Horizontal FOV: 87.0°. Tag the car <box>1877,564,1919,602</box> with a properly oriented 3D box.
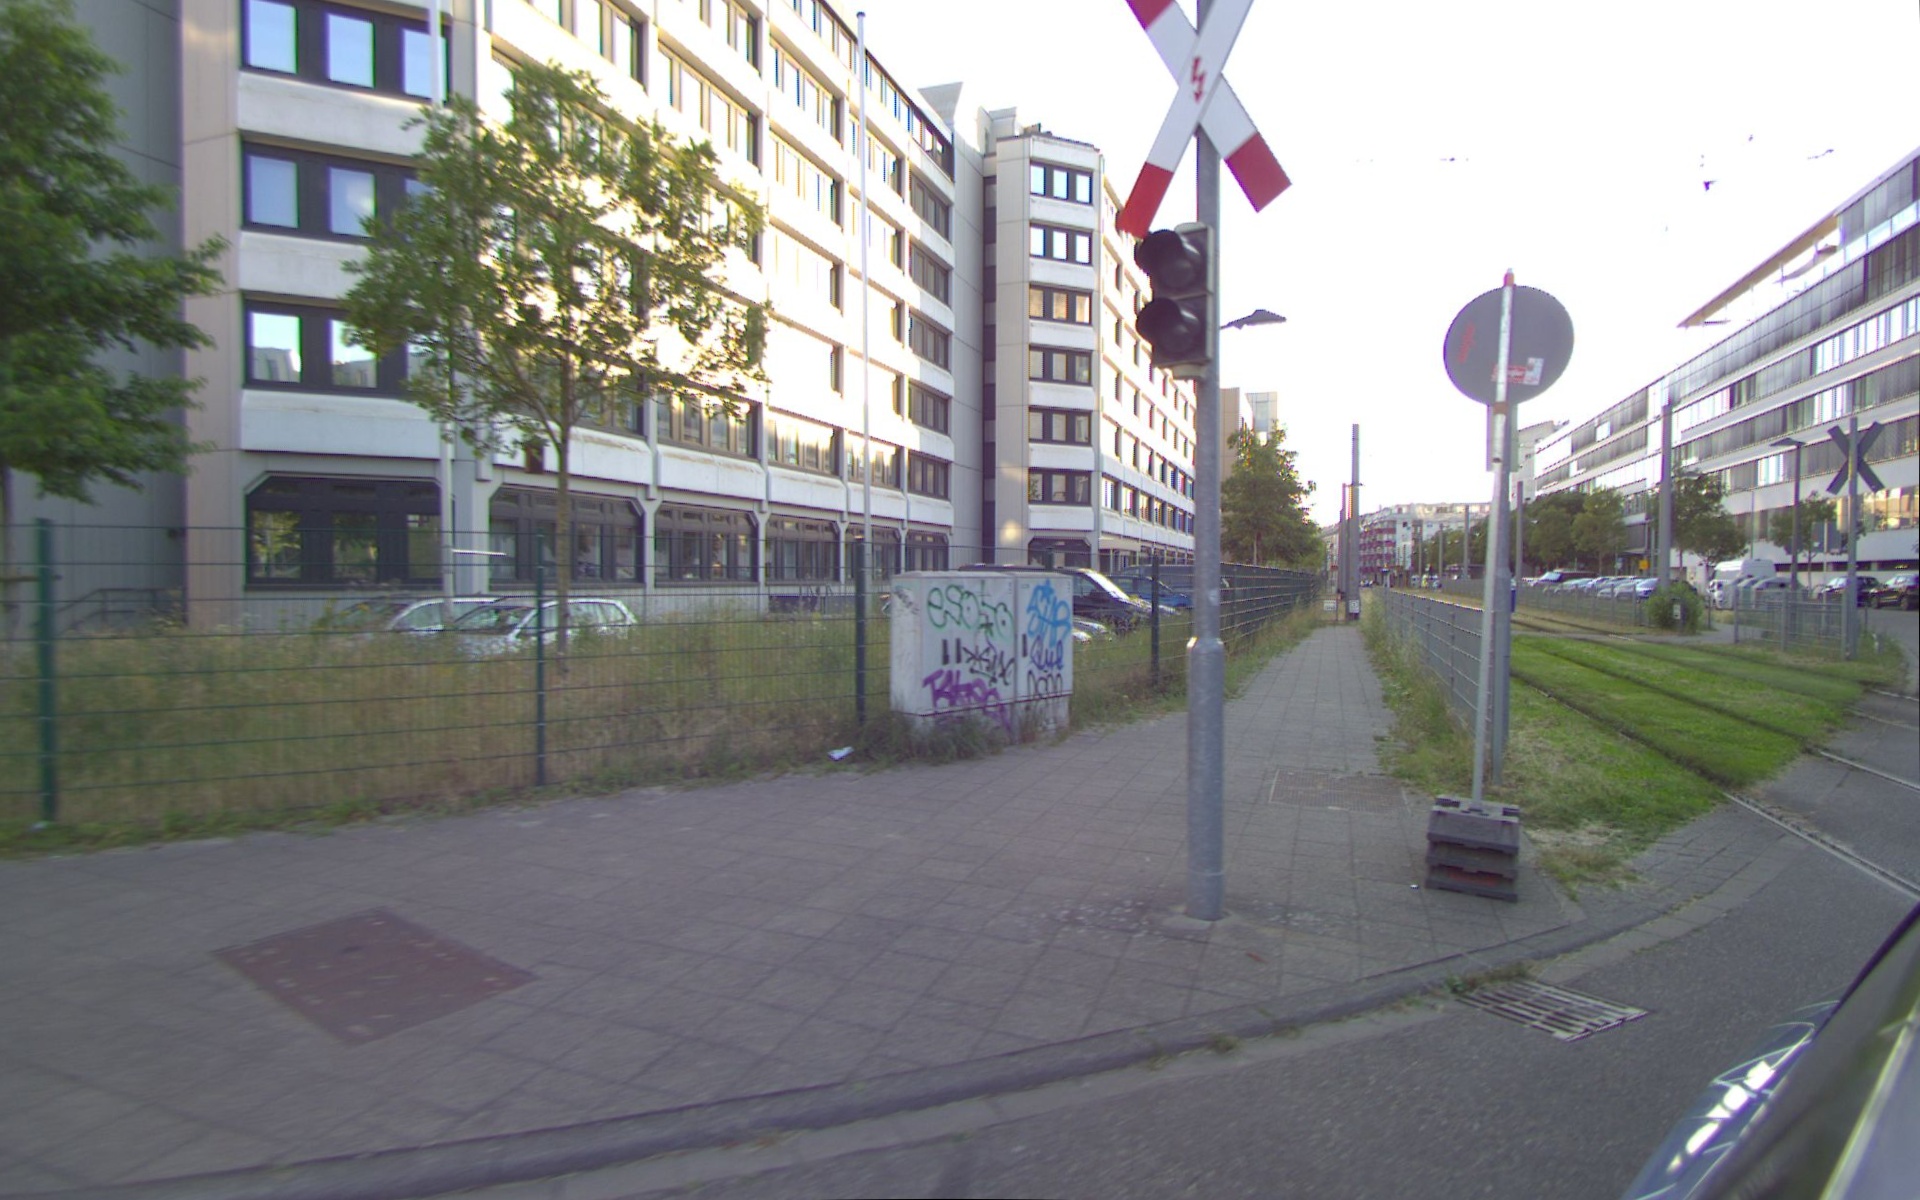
[{"bbox_3d":[43.620,-0.786,45.719,1.774,1.707,3.977,0,2,18],"label":"car"}]

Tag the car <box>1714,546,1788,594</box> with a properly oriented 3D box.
[{"bbox_3d":[50.749,-1.909,65.100,1.982,2.911,6.211,2,2,21],"label":"car"}]

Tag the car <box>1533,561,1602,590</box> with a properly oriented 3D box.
[{"bbox_3d":[42.184,-1.682,70.269,4.086,1.983,1.722,0,1,-14],"label":"car"}]

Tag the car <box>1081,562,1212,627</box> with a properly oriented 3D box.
[{"bbox_3d":[6.157,-0.222,33.445,3.954,2.039,1.985,1,1,23],"label":"car"}]

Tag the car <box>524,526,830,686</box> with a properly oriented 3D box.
[{"bbox_3d":[-4.110,0.032,15.051,3.935,2.039,1.995,-1,1,-45],"label":"car"}]

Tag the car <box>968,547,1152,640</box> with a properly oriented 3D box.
[{"bbox_3d":[2.392,-0.180,24.058,3.958,2.039,1.983,1,1,25],"label":"car"}]

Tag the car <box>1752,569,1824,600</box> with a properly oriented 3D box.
[{"bbox_3d":[48.715,-0.962,59.606,1.772,1.723,3.981,2,2,16],"label":"car"}]

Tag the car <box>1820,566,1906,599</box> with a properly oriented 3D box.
[{"bbox_3d":[45.931,-0.909,51.584,1.774,1.570,3.977,-1,1,18],"label":"car"}]

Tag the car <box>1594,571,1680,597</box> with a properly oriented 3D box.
[{"bbox_3d":[36.191,-0.863,54.105,3.916,1.393,1.722,0,1,-17],"label":"car"}]

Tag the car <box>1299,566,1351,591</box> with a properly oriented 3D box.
[{"bbox_3d":[29.842,-1.744,82.904,3.949,2.039,1.988,0,1,20],"label":"car"}]

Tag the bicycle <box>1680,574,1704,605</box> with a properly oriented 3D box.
[{"bbox_3d":[27.812,-0.426,38.455,0.540,1.149,1.896,1,1,42],"label":"bicycle"}]

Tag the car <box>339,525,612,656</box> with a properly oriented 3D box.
[{"bbox_3d":[-8.474,-0.189,17.884,3.935,2.039,1.995,-1,1,-45],"label":"car"}]

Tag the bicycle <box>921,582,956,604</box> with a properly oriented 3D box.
[{"bbox_3d":[-0.940,-0.333,45.432,0.805,0.962,2.200,1,2,20],"label":"bicycle"}]

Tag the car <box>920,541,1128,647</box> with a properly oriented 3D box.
[{"bbox_3d":[1.358,-0.151,21.304,3.958,2.039,1.983,1,1,25],"label":"car"}]

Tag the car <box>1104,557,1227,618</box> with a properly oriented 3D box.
[{"bbox_3d":[7.247,-0.447,35.644,3.954,2.038,1.985,0,1,23],"label":"car"}]

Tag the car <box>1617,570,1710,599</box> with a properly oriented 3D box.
[{"bbox_3d":[34.806,-0.790,50.098,3.916,1.393,1.722,0,1,-17],"label":"car"}]

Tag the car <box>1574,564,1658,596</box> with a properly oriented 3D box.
[{"bbox_3d":[36.575,-1.125,56.472,3.916,1.778,1.722,0,1,-14],"label":"car"}]

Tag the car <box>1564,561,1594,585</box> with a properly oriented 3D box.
[{"bbox_3d":[69.195,-3.044,113.226,1.974,2.617,3.976,0,1,19],"label":"car"}]

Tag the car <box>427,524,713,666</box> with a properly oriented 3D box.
[{"bbox_3d":[-6.304,-0.118,16.609,3.935,2.039,1.995,-1,1,-45],"label":"car"}]

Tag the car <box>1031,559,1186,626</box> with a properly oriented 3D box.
[{"bbox_3d":[4.206,-0.247,28.614,3.958,1.771,1.983,1,1,25],"label":"car"}]

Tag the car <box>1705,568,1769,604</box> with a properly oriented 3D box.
[{"bbox_3d":[34.519,-0.642,45.047,1.616,1.530,3.386,1,2,27],"label":"car"}]
